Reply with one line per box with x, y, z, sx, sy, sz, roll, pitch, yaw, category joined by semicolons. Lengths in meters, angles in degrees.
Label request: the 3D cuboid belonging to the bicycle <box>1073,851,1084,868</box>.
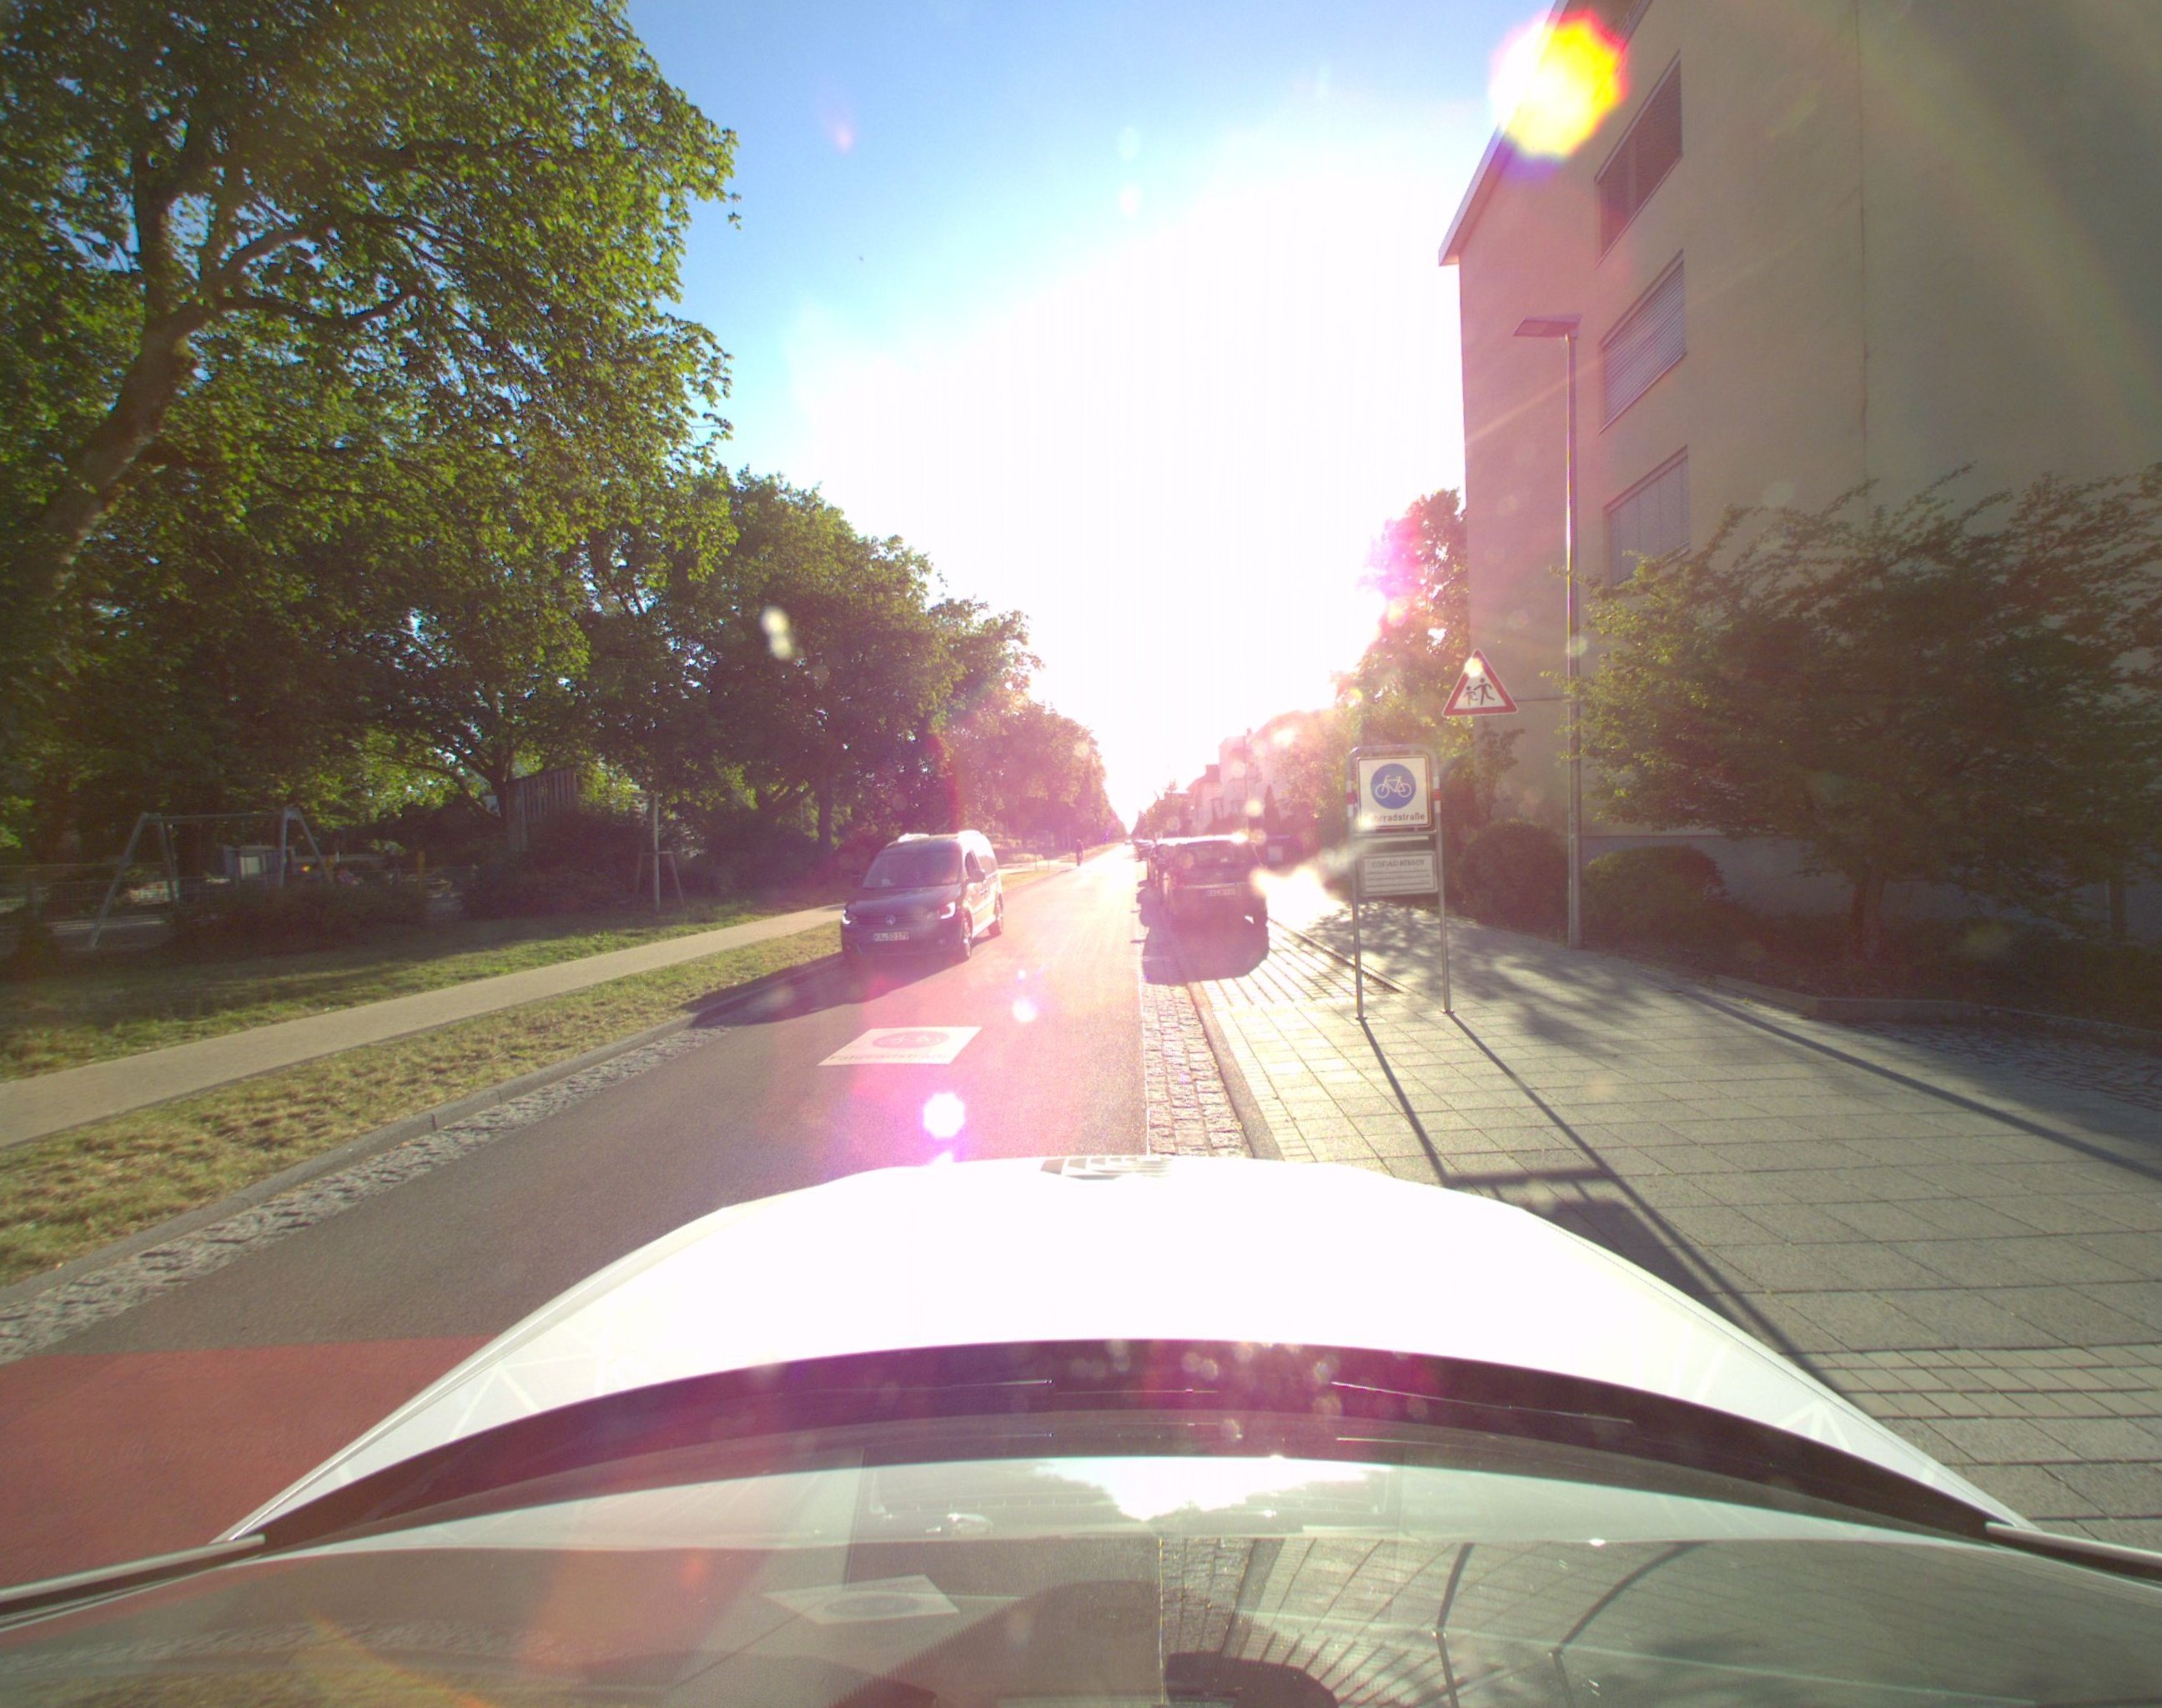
-0.149;0.365;53.110;0.554;1.031;1.916;-3;0;3;bicycle

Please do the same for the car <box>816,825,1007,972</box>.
-2.465;0.579;13.118;1.836;1.847;4.576;-3;0;3;car

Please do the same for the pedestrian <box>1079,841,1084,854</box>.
0.060;-0.927;119.034;0.621;1.831;0.888;-2;1;7;pedestrian

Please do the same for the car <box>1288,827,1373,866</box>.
11.102;-0.327;36.448;3.470;1.641;1.648;-1;0;11;car

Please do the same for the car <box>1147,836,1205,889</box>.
3.100;0.232;27.152;1.671;1.555;4.136;-3;1;5;car

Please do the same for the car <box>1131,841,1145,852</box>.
8.153;-1.115;116.945;1.730;1.448;4.200;-3;0;2;car

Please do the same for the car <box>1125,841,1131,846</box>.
14.069;-3.173;242.121;1.645;1.541;3.270;-1;1;4;car

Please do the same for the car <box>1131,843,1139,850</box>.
11.141;-1.557;168.245;1.491;1.567;3.271;-2;1;5;car

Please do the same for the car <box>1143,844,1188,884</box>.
3.335;0.331;32.631;1.557;1.390;4.379;-3;1;4;car

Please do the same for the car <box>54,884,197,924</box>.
-40.768;2.093;34.882;1.515;1.367;3.758;-1;1;5;car

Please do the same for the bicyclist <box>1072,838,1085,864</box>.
-0.182;-0.201;53.029;0.679;1.672;1.173;-3;0;3;bicyclist

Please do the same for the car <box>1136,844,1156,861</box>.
6.374;-0.176;80.520;1.737;1.474;3.925;-5;1;3;car

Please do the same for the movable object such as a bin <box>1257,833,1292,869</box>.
7.919;-0.123;33.364;1.231;1.432;1.125;-1;0;5;movable object such as a bin

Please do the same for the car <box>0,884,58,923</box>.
-41.314;1.942;30.314;1.515;1.367;3.758;-1;1;5;car

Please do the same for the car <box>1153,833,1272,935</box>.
2.400;0.468;15.823;1.703;1.610;4.171;-4;1;2;car

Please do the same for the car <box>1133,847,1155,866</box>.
5.356;0.183;69.251;1.767;1.288;4.278;-5;1;4;car

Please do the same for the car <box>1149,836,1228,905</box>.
2.751;0.367;21.600;1.672;1.555;4.148;-3;1;3;car

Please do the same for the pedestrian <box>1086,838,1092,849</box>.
1.157;-1.575;118.864;0.779;1.614;0.954;-2;1;7;pedestrian
